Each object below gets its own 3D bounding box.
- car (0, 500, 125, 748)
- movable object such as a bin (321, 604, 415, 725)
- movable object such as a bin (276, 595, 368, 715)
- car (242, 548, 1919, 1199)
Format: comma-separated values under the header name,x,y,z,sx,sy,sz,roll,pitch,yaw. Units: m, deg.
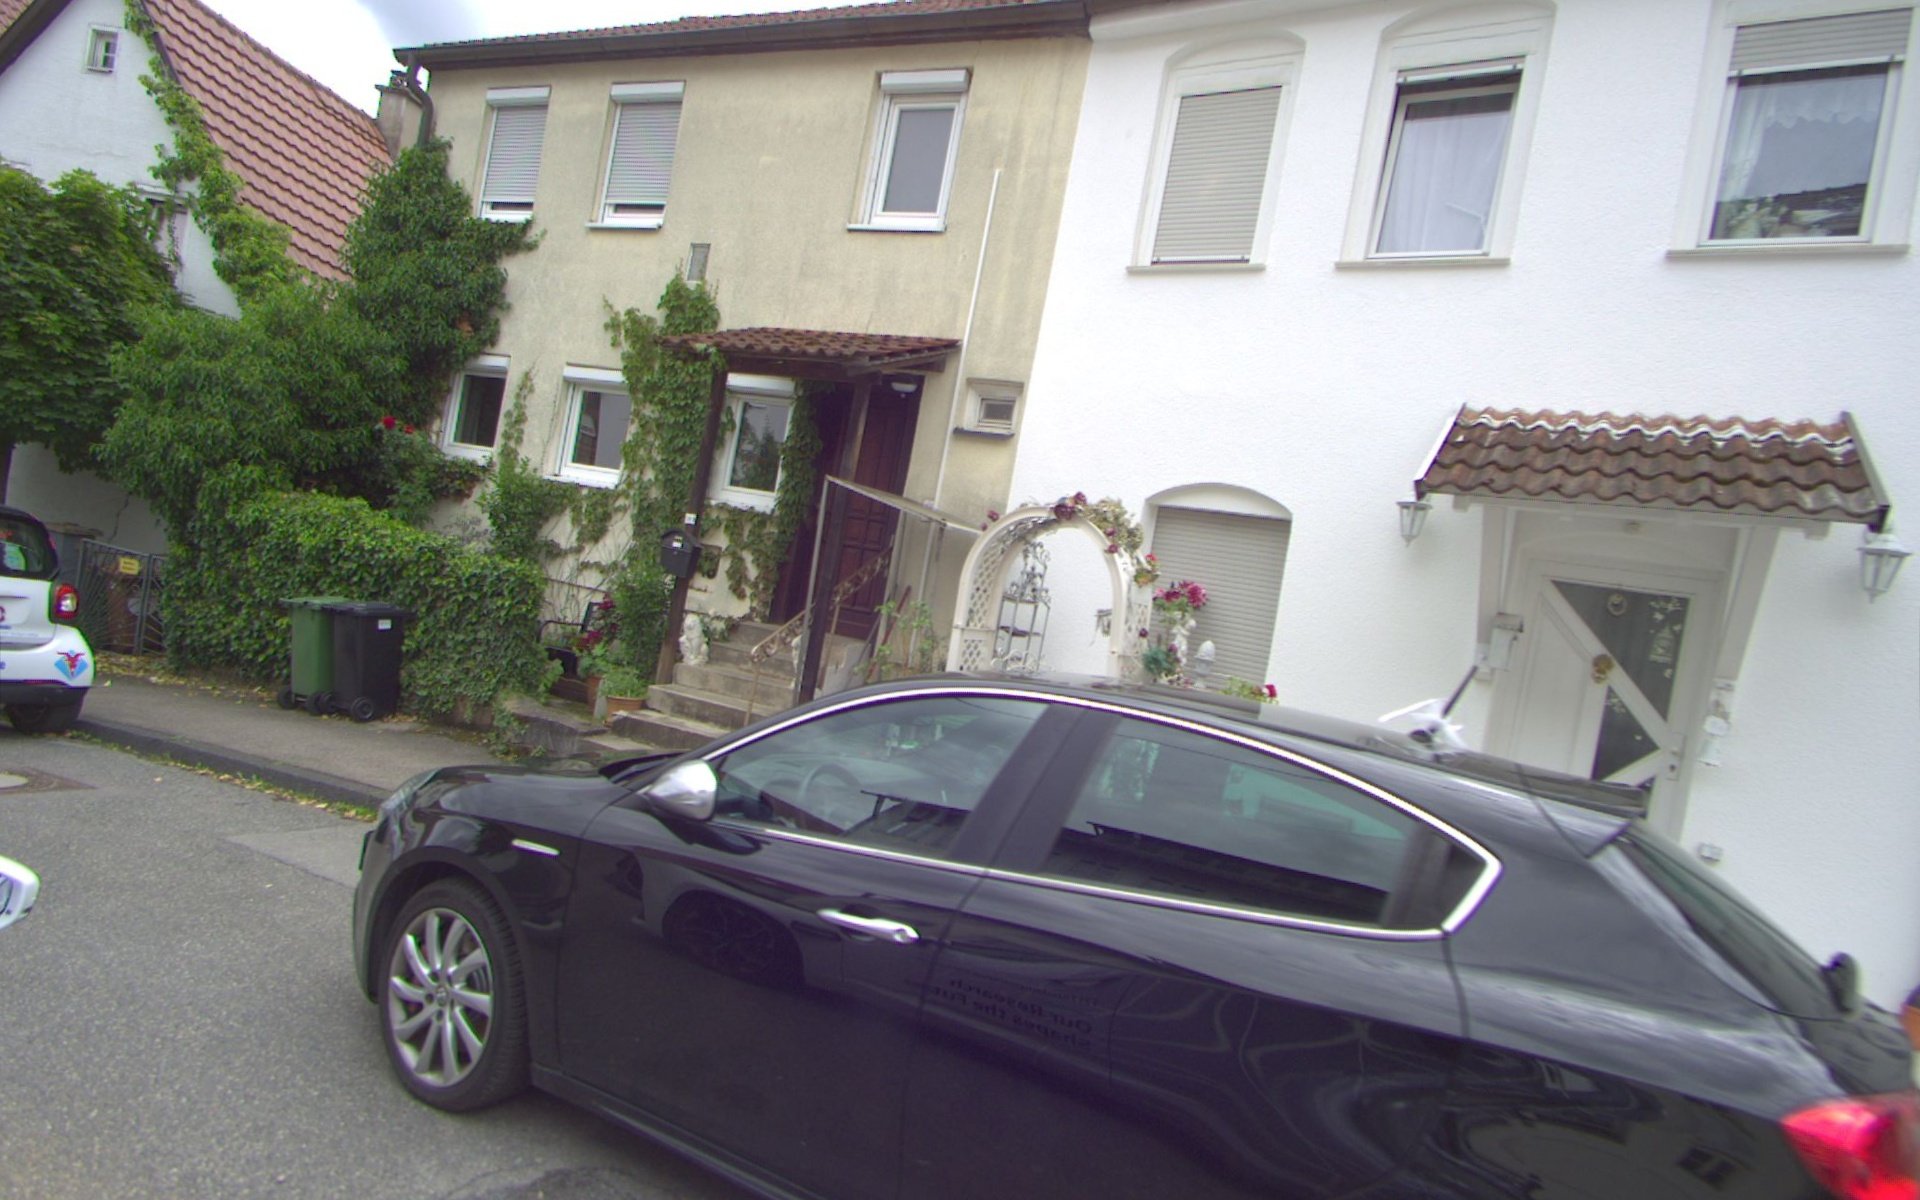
name,x,y,z,sx,sy,sz,roll,pitch,yaw
car,-7.431,-0.013,6.580,2.843,1.548,1.619,6,-4,19
movable object such as a bin,-4.757,0.505,8.091,0.438,0.910,0.438,5,2,24
movable object such as a bin,-5.243,0.441,8.274,0.438,0.926,0.438,5,2,24
car,-0.017,0.858,2.972,3.933,1.422,1.724,7,-2,28
